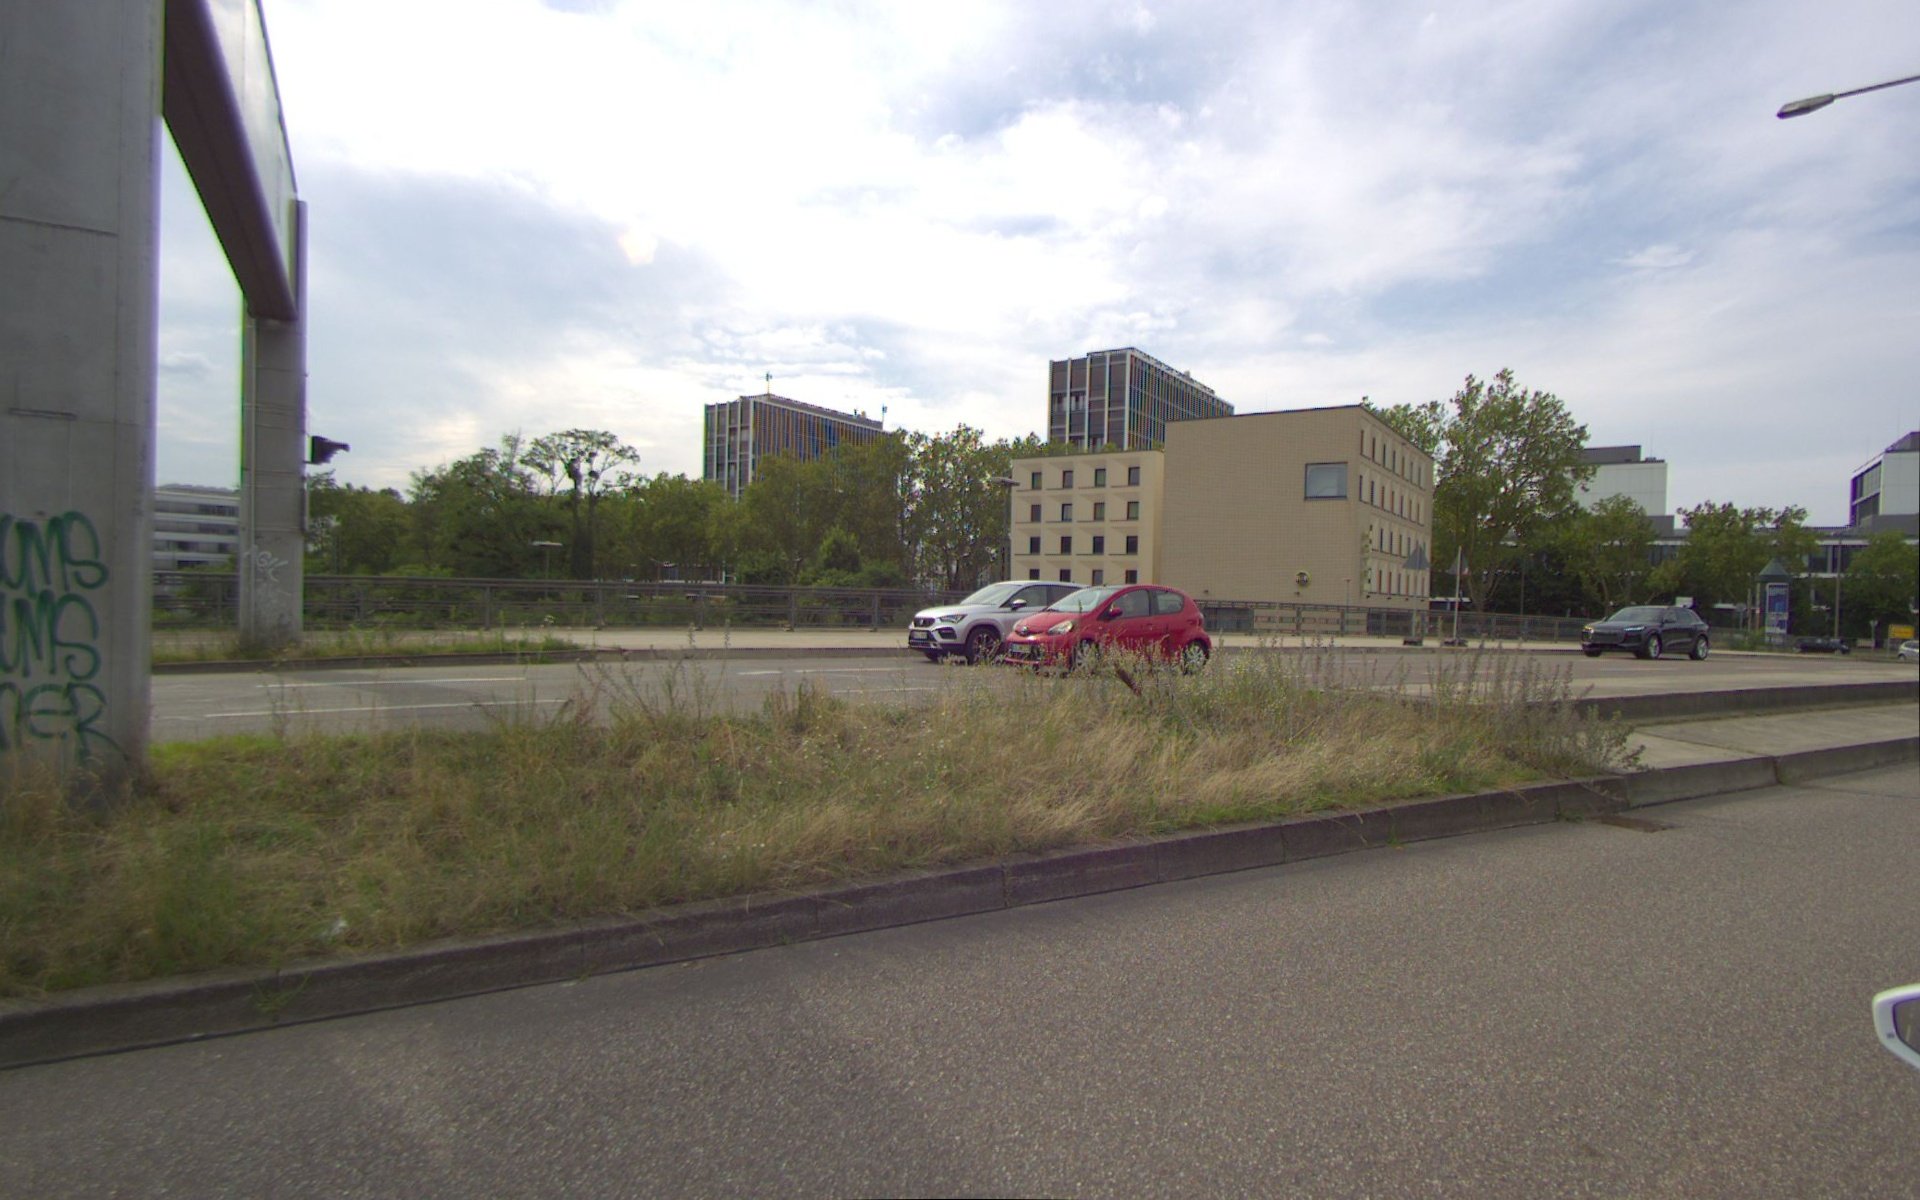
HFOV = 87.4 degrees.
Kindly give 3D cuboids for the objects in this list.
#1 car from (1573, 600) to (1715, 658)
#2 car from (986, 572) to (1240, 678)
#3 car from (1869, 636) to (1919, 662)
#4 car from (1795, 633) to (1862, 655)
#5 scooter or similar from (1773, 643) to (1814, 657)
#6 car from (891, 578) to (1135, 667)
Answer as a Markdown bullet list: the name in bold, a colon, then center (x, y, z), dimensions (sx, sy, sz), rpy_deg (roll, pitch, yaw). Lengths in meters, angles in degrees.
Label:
- **car**: center (21.501, 0.931, 31.556), dimensions (4.491, 1.662, 1.878), rpy_deg (2, 0, -29)
- **car**: center (2.525, 0.410, 16.393), dimensions (3.873, 1.552, 1.714), rpy_deg (2, 0, -31)
- **car**: center (61.868, 3.193, 64.985), dimensions (1.886, 1.547, 4.883), rpy_deg (1, -1, 4)
- **car**: center (73.658, 3.715, 85.222), dimensions (3.922, 1.550, 1.682), rpy_deg (2, 0, 22)
- **scooter or similar**: center (60.315, 3.639, 72.711), dimensions (2.340, 0.861, 0.808), rpy_deg (2, 0, -2)
- **car**: center (1.064, 0.444, 19.448), dimensions (4.402, 1.552, 1.877), rpy_deg (2, 0, -31)
